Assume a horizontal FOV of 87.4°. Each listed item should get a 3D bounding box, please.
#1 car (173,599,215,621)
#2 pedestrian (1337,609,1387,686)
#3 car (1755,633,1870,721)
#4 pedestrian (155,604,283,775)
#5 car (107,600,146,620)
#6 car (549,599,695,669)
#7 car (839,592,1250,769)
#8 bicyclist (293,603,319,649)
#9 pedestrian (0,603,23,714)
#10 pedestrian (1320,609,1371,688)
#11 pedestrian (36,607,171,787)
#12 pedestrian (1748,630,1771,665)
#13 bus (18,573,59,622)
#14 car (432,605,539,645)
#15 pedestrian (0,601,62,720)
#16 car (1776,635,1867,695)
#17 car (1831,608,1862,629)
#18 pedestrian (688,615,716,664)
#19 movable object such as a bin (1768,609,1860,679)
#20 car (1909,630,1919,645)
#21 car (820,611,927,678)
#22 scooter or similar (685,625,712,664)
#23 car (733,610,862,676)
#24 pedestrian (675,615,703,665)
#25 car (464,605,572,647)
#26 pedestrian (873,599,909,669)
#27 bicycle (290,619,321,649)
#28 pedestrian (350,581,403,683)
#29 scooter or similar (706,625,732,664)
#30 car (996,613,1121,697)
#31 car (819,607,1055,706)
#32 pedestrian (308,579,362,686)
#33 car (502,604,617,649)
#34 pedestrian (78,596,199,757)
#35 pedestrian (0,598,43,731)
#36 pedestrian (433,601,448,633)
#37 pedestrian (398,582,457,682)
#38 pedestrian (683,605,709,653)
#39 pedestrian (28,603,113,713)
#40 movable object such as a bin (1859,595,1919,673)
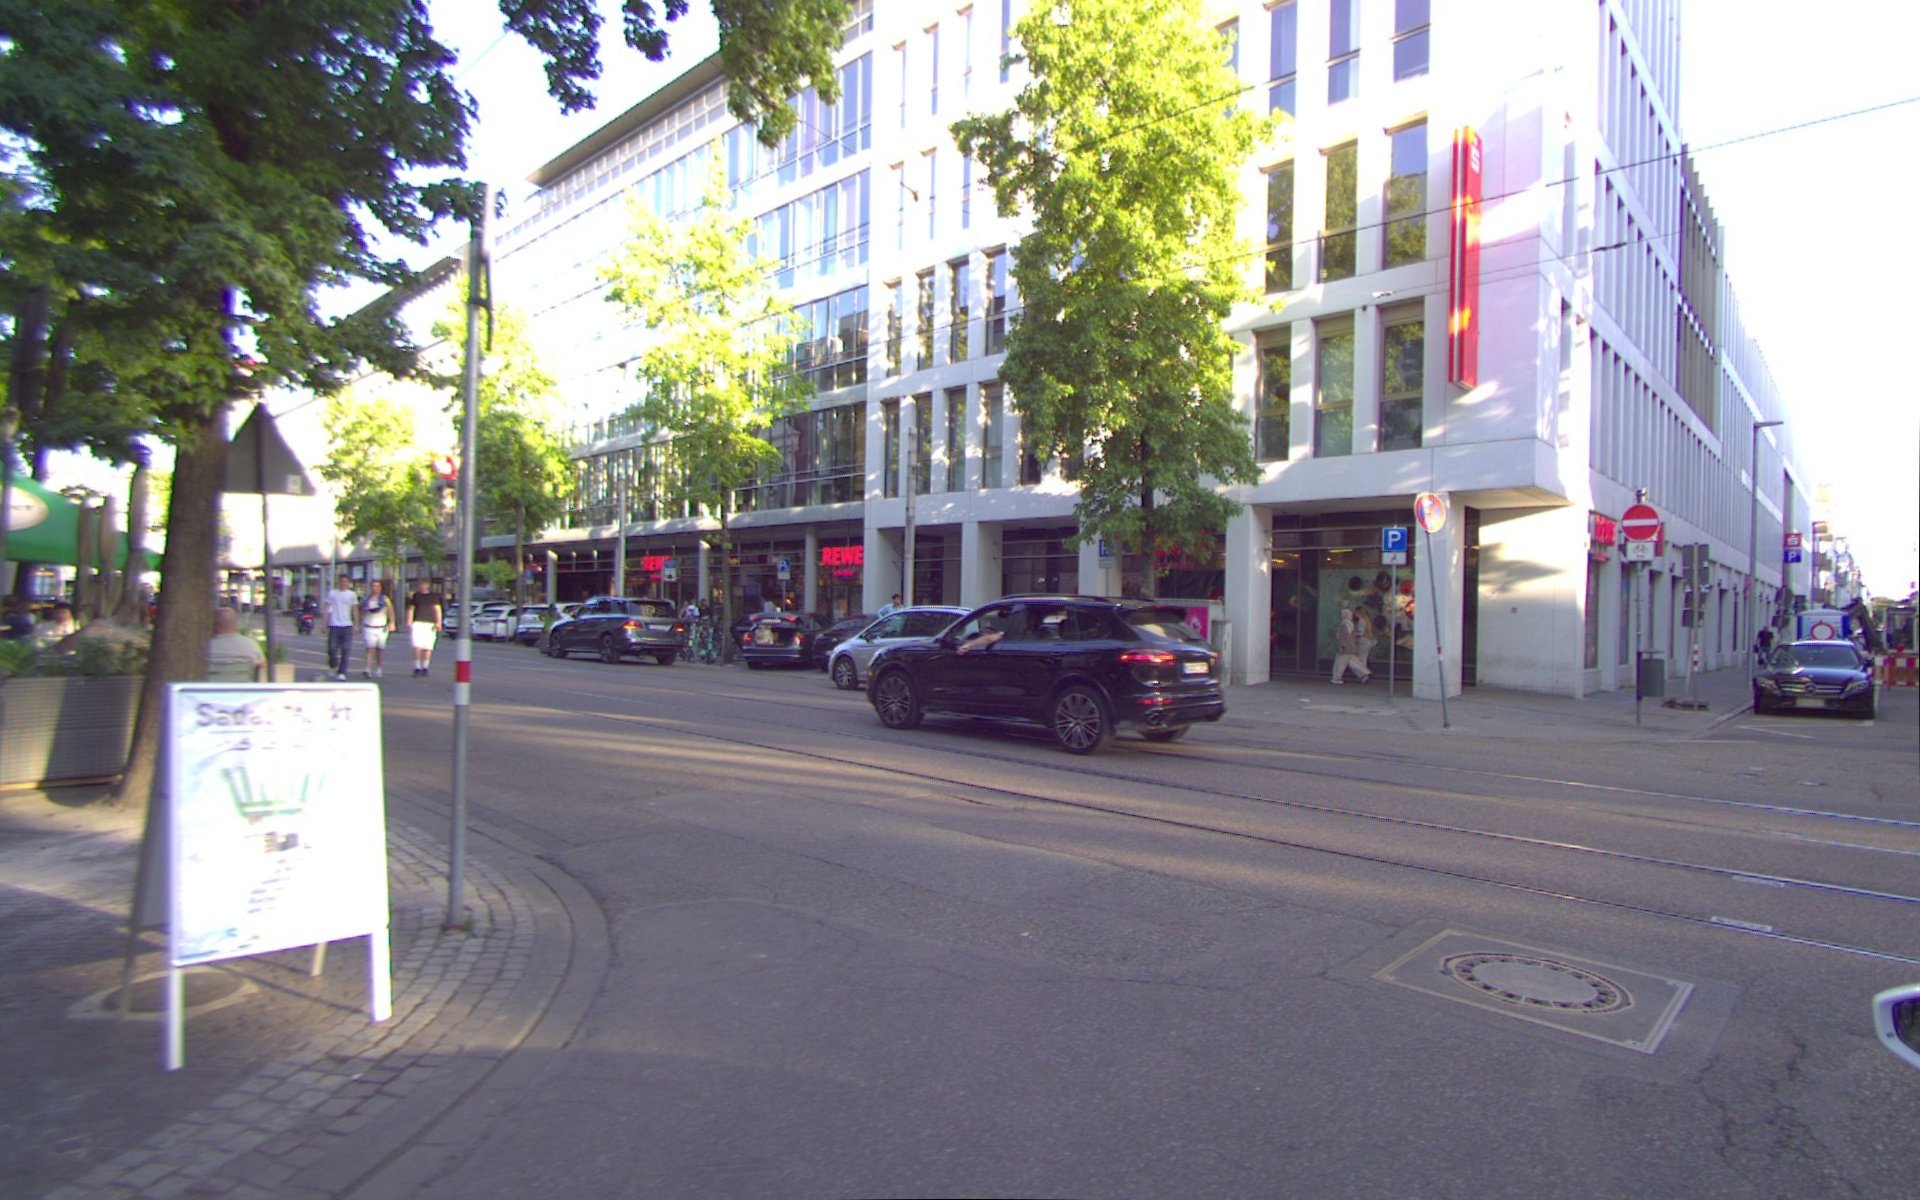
[{"bbox_3d":[-55.390,0.711,72.610,3.449,1.562,1.666,0,-1,40],"label":"car"},{"bbox_3d":[8.848,1.041,22.109,0.860,1.649,0.608,1,-1,42],"label":"pedestrian"},{"bbox_3d":[16.778,1.444,19.841,1.610,1.571,3.127,-1,-2,40],"label":"car"},{"bbox_3d":[-6.441,0.739,8.737,0.703,1.376,0.728,2,1,40],"label":"pedestrian"},{"bbox_3d":[-71.590,0.879,86.278,3.665,1.662,1.922,-1,-2,39],"label":"car"},{"bbox_3d":[-9.280,0.895,27.430,4.221,1.760,1.860,0,-3,41],"label":"car"},{"bbox_3d":[0.851,0.813,12.393,4.878,1.748,2.010,0,-1,44],"label":"car"},{"bbox_3d":[-27.214,1.066,41.781,0.977,1.880,0.651,0,-1,42],"label":"bicyclist"},{"bbox_3d":[-12.405,0.728,12.692,0.703,1.376,0.728,2,1,40],"label":"pedestrian"},{"bbox_3d":[8.329,1.032,21.696,0.860,1.649,0.608,1,-1,42],"label":"pedestrian"},{"bbox_3d":[-6.922,0.744,8.119,0.720,1.346,0.710,2,1,40],"label":"pedestrian"},{"bbox_3d":[33.676,1.992,42.313,0.522,1.484,0.709,1,-2,-44],"label":"pedestrian"},{"bbox_3d":[-69.541,-0.203,75.741,1.987,3.463,8.462,2,-1,-44],"label":"bus"},{"bbox_3d":[-20.261,1.028,43.082,1.912,1.526,3.998,-2,1,17],"label":"car"},{"bbox_3d":[-11.445,0.715,12.169,0.703,1.376,0.728,2,1,40],"label":"pedestrian"},{"bbox_3d":[23.265,1.710,27.205,1.769,1.470,3.127,-1,-2,40],"label":"car"},{"bbox_3d":[79.734,1.679,90.344,1.972,1.800,3.977,-1,-2,43],"label":"car"},{"bbox_3d":[-8.749,1.338,34.032,0.601,1.649,0.642,1,-1,30],"label":"pedestrian"},{"bbox_3d":[26.942,1.349,31.642,1.973,2.040,3.976,-1,-2,44],"label":"movable object such as a bin"},{"bbox_3d":[113.669,4.453,118.858,1.972,1.800,3.977,-1,-2,43],"label":"car"},{"bbox_3d":[-2.214,1.130,26.550,1.558,1.526,3.593,-2,1,17],"label":"car"},{"bbox_3d":[-7.654,1.295,29.467,0.382,1.085,1.805,1,-1,-2],"label":"scooter or similar"},{"bbox_3d":[-4.337,1.123,27.466,1.912,1.526,3.998,-2,1,17],"label":"car"},{"bbox_3d":[-8.966,1.315,33.247,0.601,1.649,0.642,1,-1,30],"label":"pedestrian"},{"bbox_3d":[-18.132,1.028,41.417,1.912,1.526,3.998,-2,1,17],"label":"car"},{"bbox_3d":[-1.670,0.809,24.267,0.629,1.649,0.643,1,0,23],"label":"pedestrian"},{"bbox_3d":[-27.230,1.411,41.789,2.026,1.166,0.510,1,0,40],"label":"bicycle"},{"bbox_3d":[-11.382,0.622,19.577,0.707,1.927,1.057,1,-2,-40],"label":"pedestrian"},{"bbox_3d":[-7.034,1.293,29.329,0.382,1.085,1.805,1,-1,-2],"label":"scooter or similar"},{"bbox_3d":[2.229,1.113,21.596,1.912,1.526,3.998,-2,1,17],"label":"car"},{"bbox_3d":[-0.509,0.991,18.667,4.221,1.613,1.820,0,-3,41],"label":"car"},{"bbox_3d":[-11.700,0.599,18.796,0.707,1.927,1.057,1,-2,-40],"label":"pedestrian"},{"bbox_3d":[-15.084,0.963,38.070,1.912,1.526,3.998,-2,1,17],"label":"car"},{"bbox_3d":[-7.551,0.671,9.234,0.703,1.376,0.728,2,1,40],"label":"pedestrian"},{"bbox_3d":[-10.325,0.675,10.688,0.703,1.376,0.728,2,1,40],"label":"pedestrian"},{"bbox_3d":[-30.322,0.997,58.604,0.604,1.864,0.593,0,-1,41],"label":"pedestrian"},{"bbox_3d":[-10.619,0.637,20.032,0.820,1.927,1.057,1,-2,-40],"label":"pedestrian"},{"bbox_3d":[-9.329,1.027,35.499,0.632,1.649,0.610,1,-1,34],"label":"pedestrian"},{"bbox_3d":[-11.765,0.746,13.283,0.703,1.376,0.728,2,1,40],"label":"pedestrian"},{"bbox_3d":[34.696,1.244,37.123,2.133,2.699,4.547,0,-1,43],"label":"movable object such as a bin"}]
